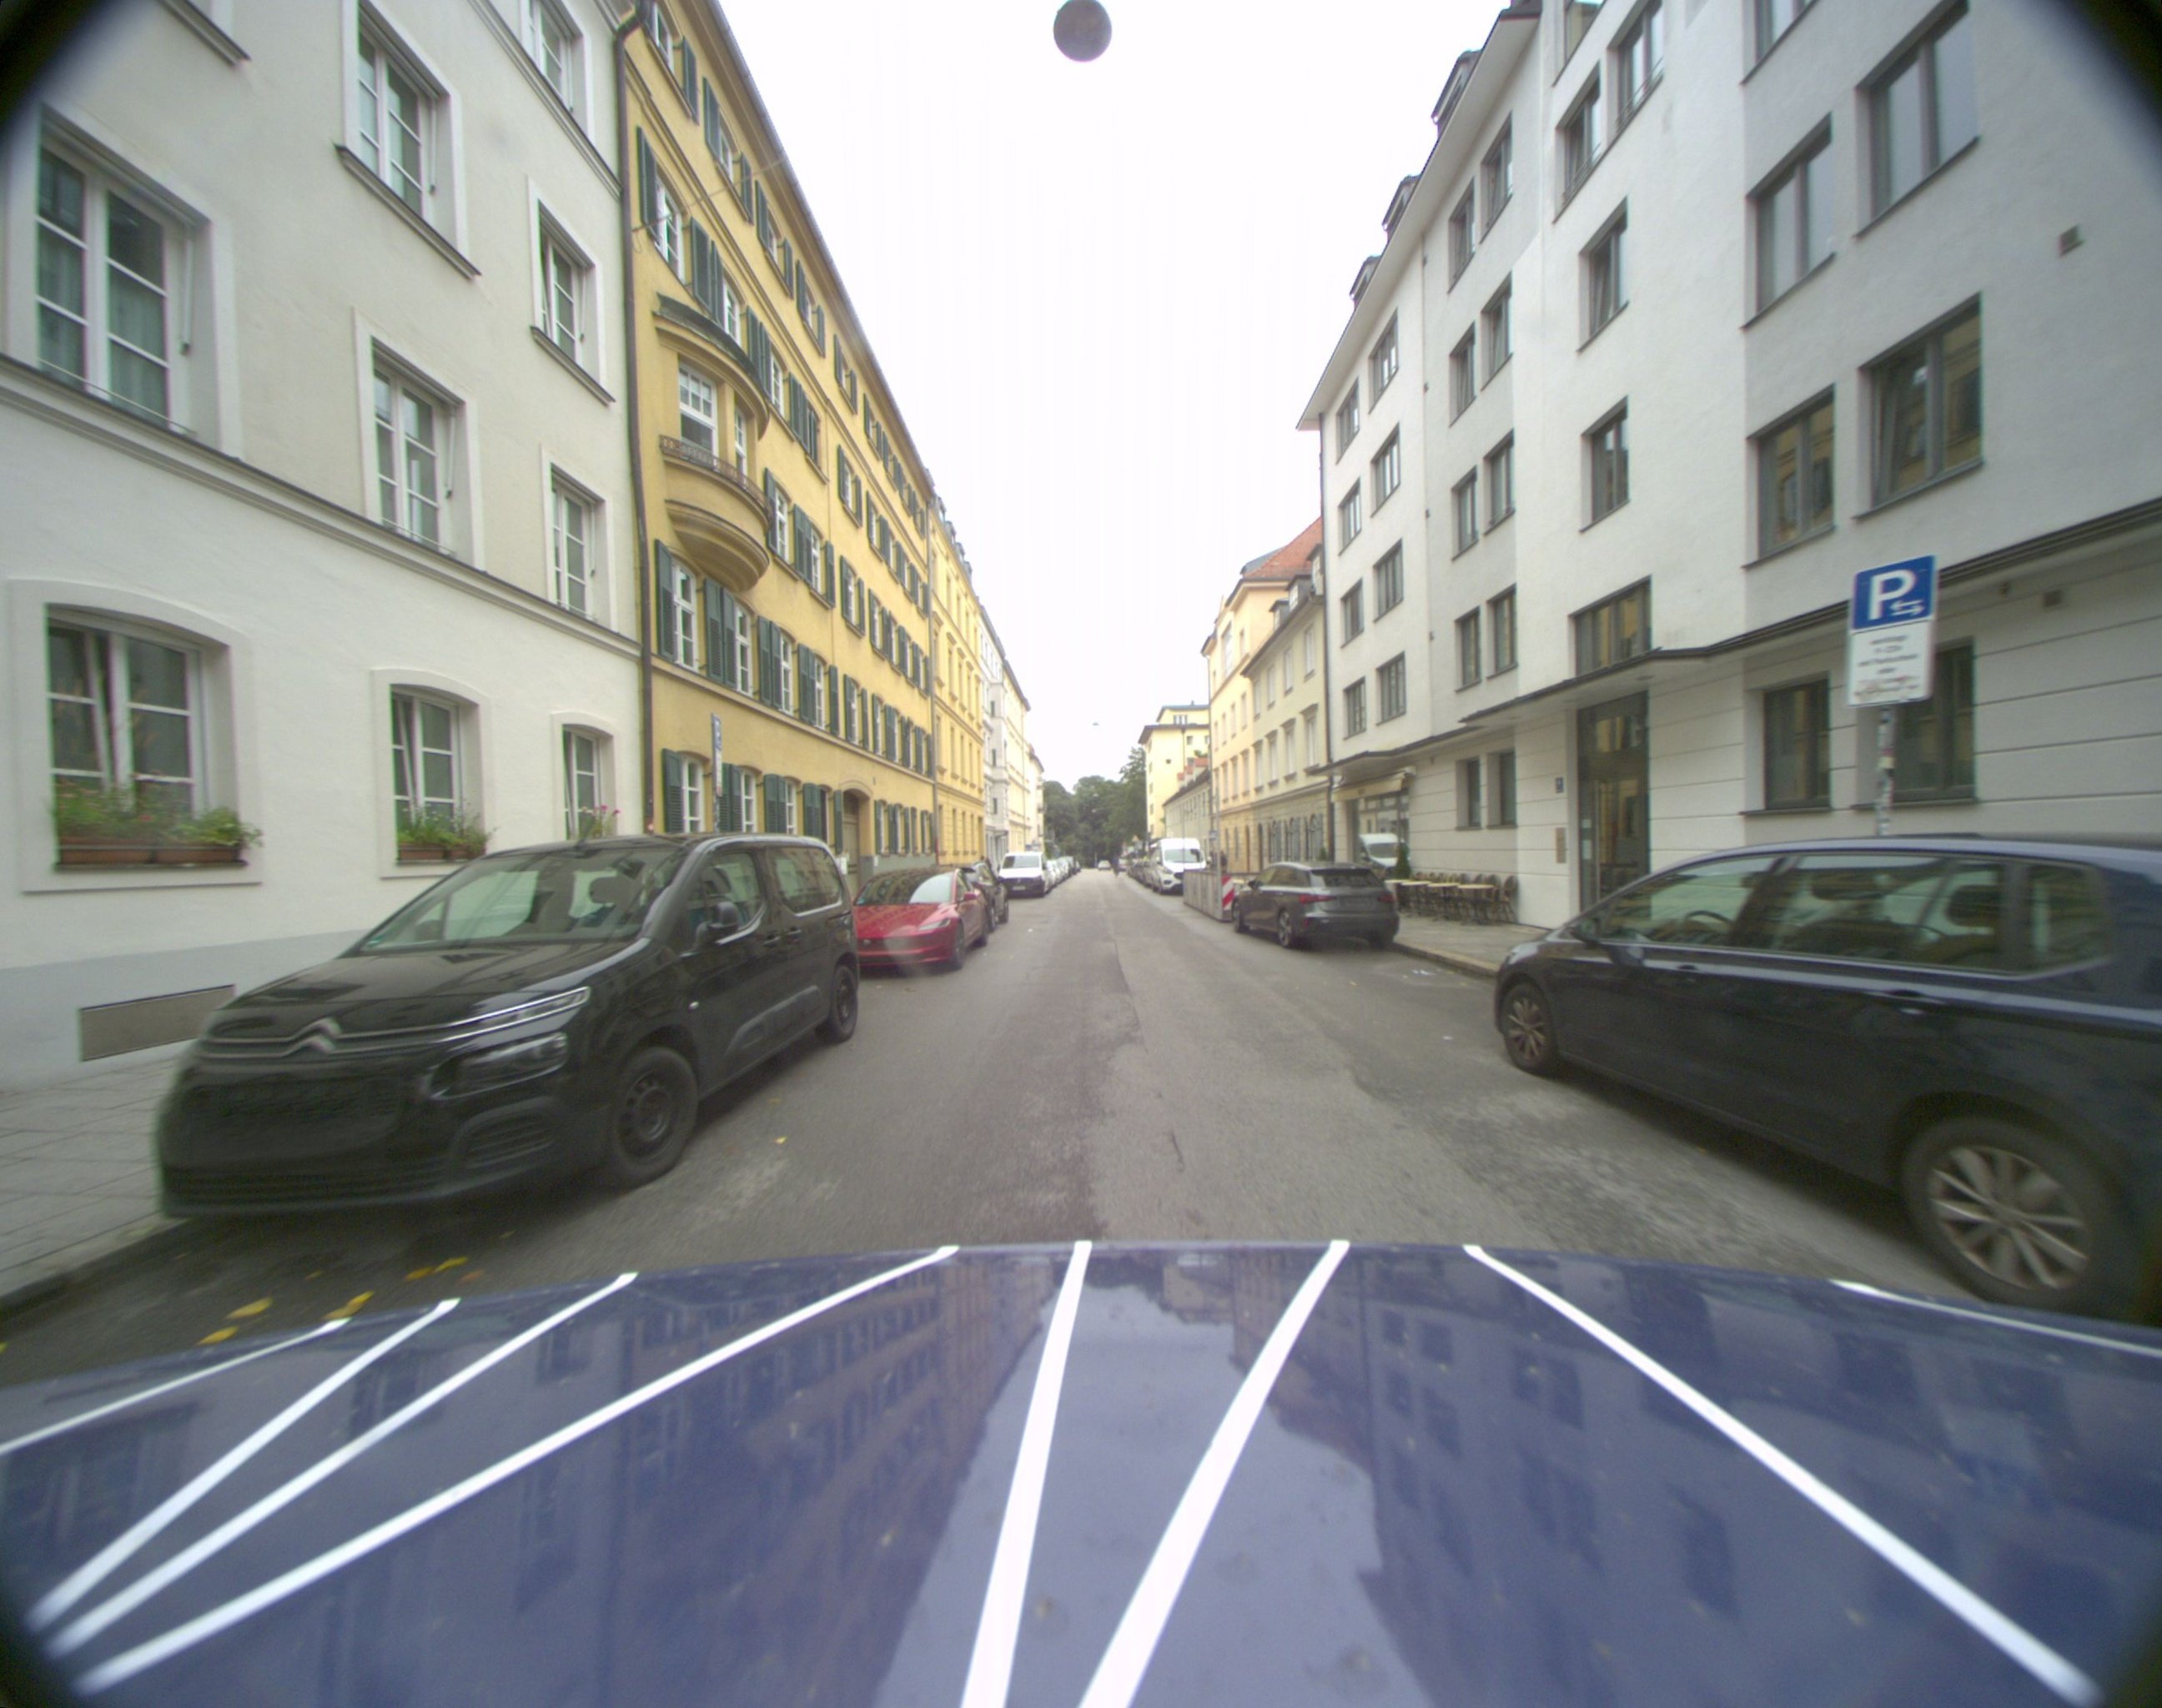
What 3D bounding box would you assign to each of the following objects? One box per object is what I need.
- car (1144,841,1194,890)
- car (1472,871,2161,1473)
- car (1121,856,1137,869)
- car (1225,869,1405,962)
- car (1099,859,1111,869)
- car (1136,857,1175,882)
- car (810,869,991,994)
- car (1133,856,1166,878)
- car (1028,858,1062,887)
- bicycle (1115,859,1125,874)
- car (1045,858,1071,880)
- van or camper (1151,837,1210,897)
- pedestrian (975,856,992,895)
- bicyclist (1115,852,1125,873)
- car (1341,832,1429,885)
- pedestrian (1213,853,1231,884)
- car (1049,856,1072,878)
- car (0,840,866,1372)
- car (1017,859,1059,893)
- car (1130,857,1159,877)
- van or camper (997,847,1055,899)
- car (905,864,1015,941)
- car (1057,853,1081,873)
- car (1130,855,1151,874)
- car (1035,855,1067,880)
[{"bbox_3d":[4.248,0.524,37.377,1.862,2.188,4.561,-2,0,0],"label":"car"},{"bbox_3d":[3.774,0.886,3.559,1.778,1.530,4.159,0,0,1],"label":"car"},{"bbox_3d":[5.591,1.009,88.898,1.711,1.490,4.000,-1,0,1],"label":"car"},{"bbox_3d":[3.942,0.972,13.558,1.644,1.346,4.057,0,0,-5],"label":"car"},{"bbox_3d":[3.665,1.503,115.932,1.793,1.409,3.905,0,0,1],"label":"car"},{"bbox_3d":[4.609,0.925,47.557,1.862,1.393,4.268,-2,0,-2],"label":"car"},{"bbox_3d":[-2.537,1.028,11.814,1.717,1.415,4.457,-1,0,0],"label":"car"},{"bbox_3d":[4.743,0.857,52.817,1.862,1.393,4.269,-2,0,0],"label":"car"},{"bbox_3d":[-1.965,0.985,42.083,1.627,1.501,3.761,-1,0,0],"label":"car"},{"bbox_3d":[3.116,1.031,61.009,0.734,1.144,1.999,-1,0,0],"label":"bicycle"},{"bbox_3d":[-1.623,1.046,54.494,1.721,1.501,3.936,-1,0,0],"label":"car"},{"bbox_3d":[4.121,0.484,32.174,1.998,2.298,5.479,-1,0,3],"label":"van or camper"},{"bbox_3d":[-4.219,0.922,32.865,0.598,1.629,0.896,2,0,-1],"label":"pedestrian"},{"bbox_3d":[3.109,0.677,60.603,0.688,1.618,0.853,-2,1,0],"label":"bicyclist"},{"bbox_3d":[12.444,0.150,31.438,1.998,2.002,4.400,-1,0,2],"label":"car"},{"bbox_3d":[7.824,0.780,42.220,0.807,1.702,1.022,-1,0,3],"label":"pedestrian"},{"bbox_3d":[-1.580,1.002,60.785,1.721,1.592,4.322,-1,0,0],"label":"car"},{"bbox_3d":[-2.946,0.865,4.742,1.851,1.766,4.200,-3,1,1],"label":"car"},{"bbox_3d":[-2.047,1.027,37.400,1.820,1.501,4.587,-1,0,-1],"label":"car"},{"bbox_3d":[4.837,0.954,58.465,1.862,1.393,4.269,-2,0,1],"label":"car"},{"bbox_3d":[-2.252,0.766,32.402,1.998,2.002,5.233,-1,0,0],"label":"van or camper"},{"bbox_3d":[-2.622,1.010,17.313,1.750,1.455,4.000,-1,0,1],"label":"car"},{"bbox_3d":[-1.173,0.880,76.369,1.998,1.850,5.115,-1,0,3],"label":"car"},{"bbox_3d":[5.026,0.887,64.183,1.573,1.505,3.424,-2,0,2],"label":"car"},{"bbox_3d":[-1.862,0.849,48.656,1.721,1.501,4.469,-1,0,1],"label":"car"}]
